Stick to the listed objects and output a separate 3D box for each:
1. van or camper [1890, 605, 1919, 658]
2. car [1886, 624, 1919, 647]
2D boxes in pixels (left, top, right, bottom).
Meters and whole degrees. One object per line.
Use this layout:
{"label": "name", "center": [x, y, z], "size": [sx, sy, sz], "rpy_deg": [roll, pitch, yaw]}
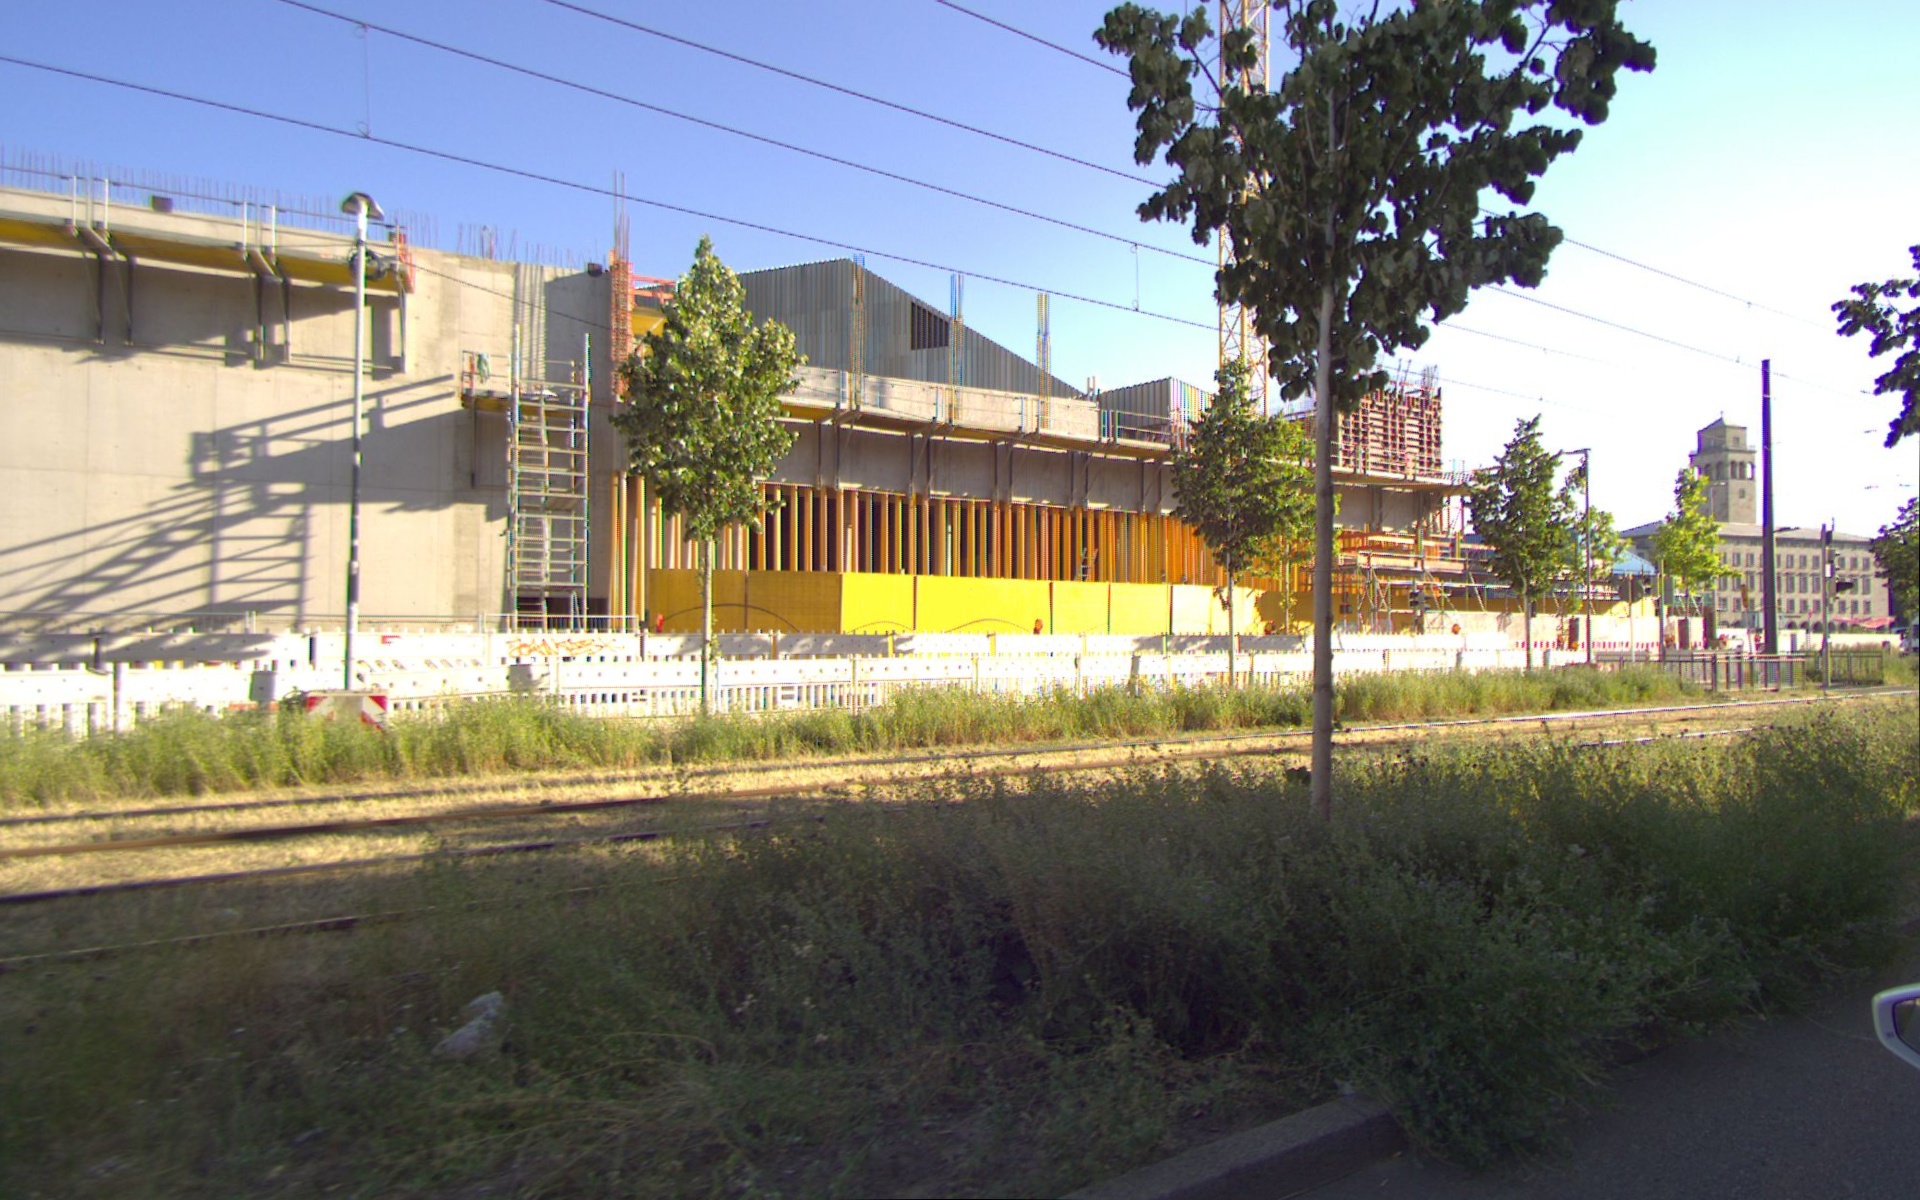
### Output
{"label": "van or camper", "center": [49.549, 1.535, 50.431], "size": [7.117, 2.542, 2.211], "rpy_deg": [0, -3, -31]}
{"label": "car", "center": [75.641, 2.758, 77.923], "size": [2.095, 1.739, 5.214], "rpy_deg": [1, -2, -24]}
